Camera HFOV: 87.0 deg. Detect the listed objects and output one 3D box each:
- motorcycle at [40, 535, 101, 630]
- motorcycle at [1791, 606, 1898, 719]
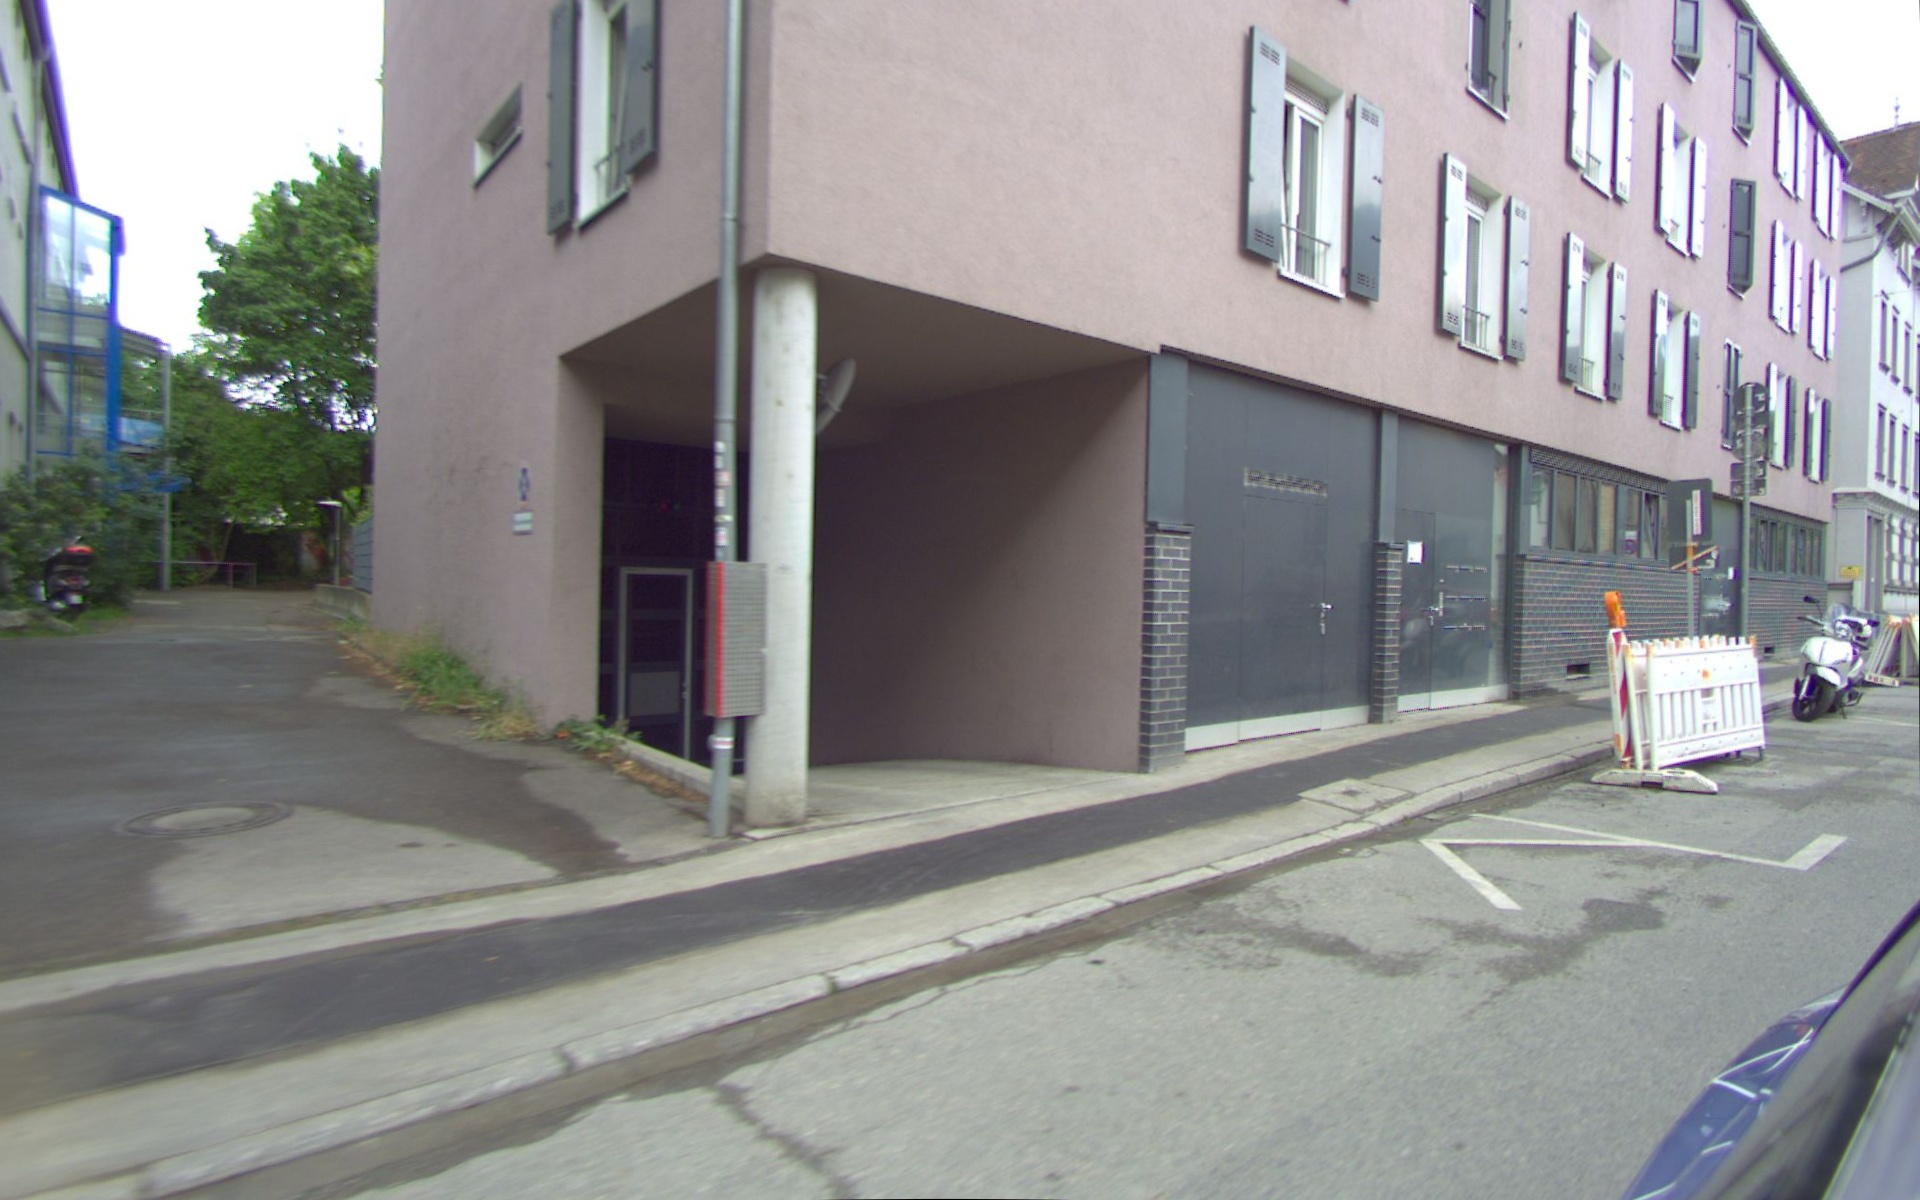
[{"bbox_3d":[-13.092,-0.256,14.893,0.616,1.335,1.312,-1,1,-44],"label":"motorcycle"},{"bbox_3d":[10.953,0.717,12.498,2.296,1.241,0.648,0,0,-40],"label":"motorcycle"}]
